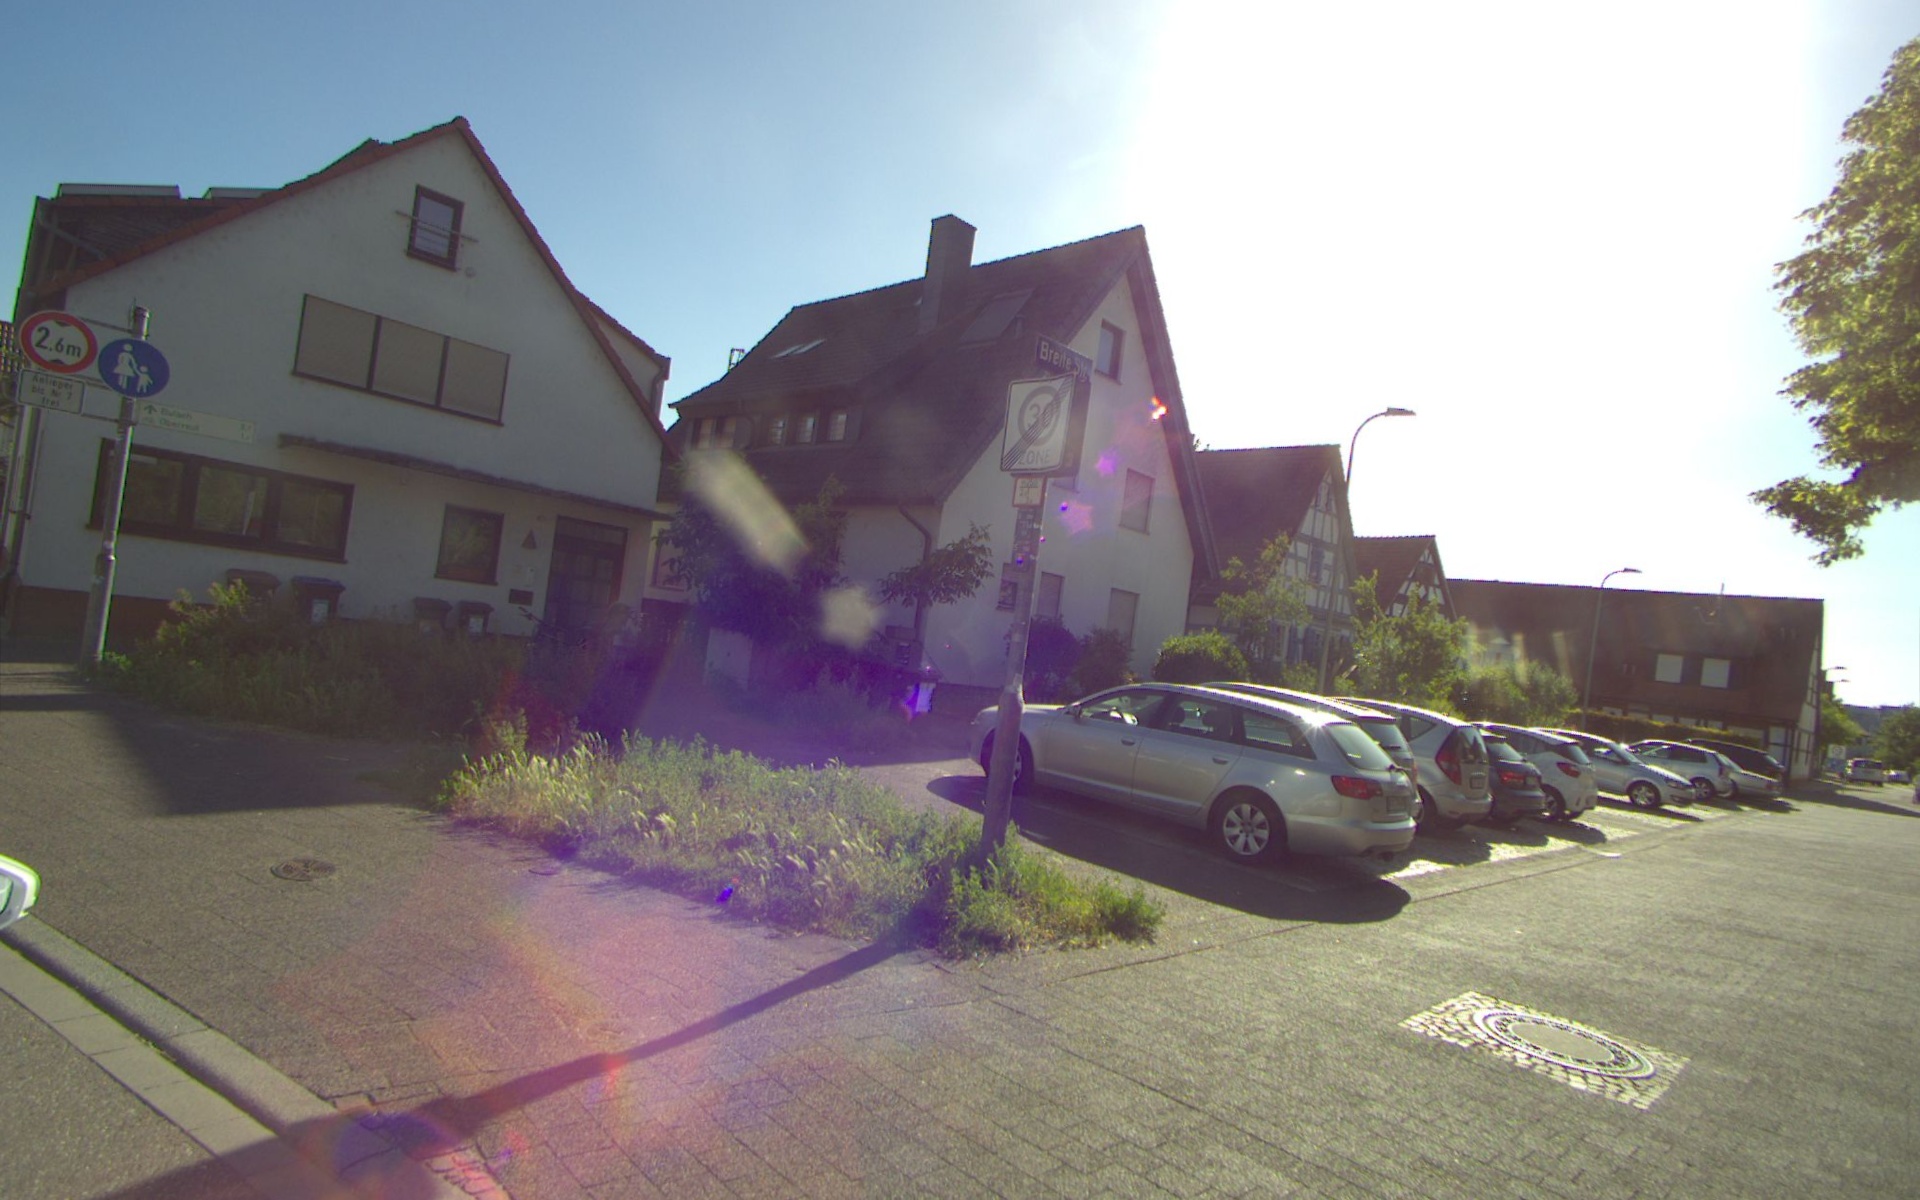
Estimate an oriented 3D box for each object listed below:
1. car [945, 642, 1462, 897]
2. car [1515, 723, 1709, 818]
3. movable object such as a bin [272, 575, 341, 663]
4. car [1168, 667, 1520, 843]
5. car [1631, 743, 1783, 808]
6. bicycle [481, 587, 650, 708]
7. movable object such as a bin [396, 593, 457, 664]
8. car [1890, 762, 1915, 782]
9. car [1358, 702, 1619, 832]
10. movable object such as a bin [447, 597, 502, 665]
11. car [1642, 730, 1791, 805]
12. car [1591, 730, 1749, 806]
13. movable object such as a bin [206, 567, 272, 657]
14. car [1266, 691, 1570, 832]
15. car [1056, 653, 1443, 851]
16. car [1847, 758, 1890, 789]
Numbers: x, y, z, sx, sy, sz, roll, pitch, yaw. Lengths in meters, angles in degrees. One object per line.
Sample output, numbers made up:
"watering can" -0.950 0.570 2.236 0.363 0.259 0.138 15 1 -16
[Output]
"car" 2.330 1.571 10.496 4.735 1.438 1.992 8 -1 42
"car" 15.529 4.004 24.074 3.569 1.437 1.453 8 1 43
"movable object such as a bin" -9.366 0.270 14.411 0.738 1.136 0.526 7 -1 42
"car" 5.382 2.139 14.609 1.703 1.569 4.352 10 -1 -40
"car" 23.038 5.387 31.102 3.568 1.208 1.340 8 -1 41
"bicycle" -4.933 0.624 12.672 0.690 1.298 1.737 6 -3 40
"movable object such as a bin" -8.366 0.445 15.774 0.660 0.994 0.529 7 -1 42
"car" 113.071 20.668 120.745 1.974 2.037 3.981 6 -2 44
"car" 9.523 2.963 18.326 1.592 1.491 3.762 9 -1 -43
"movable object such as a bin" -7.879 0.501 16.321 0.586 0.988 0.497 7 -1 41
"car" 24.749 5.414 32.966 3.652 1.645 1.408 8 1 41
"car" 21.110 4.967 29.979 3.569 1.470 1.454 8 -1 43
"movable object such as a bin" -9.994 0.168 13.945 0.738 1.136 0.480 7 -1 42
"car" 7.336 2.570 16.417 1.642 1.364 4.062 11 -2 -43
"car" 3.470 1.808 12.777 1.703 1.534 4.352 11 -2 -40
"car" 68.546 13.084 75.862 2.184 1.863 4.781 7 -3 43
